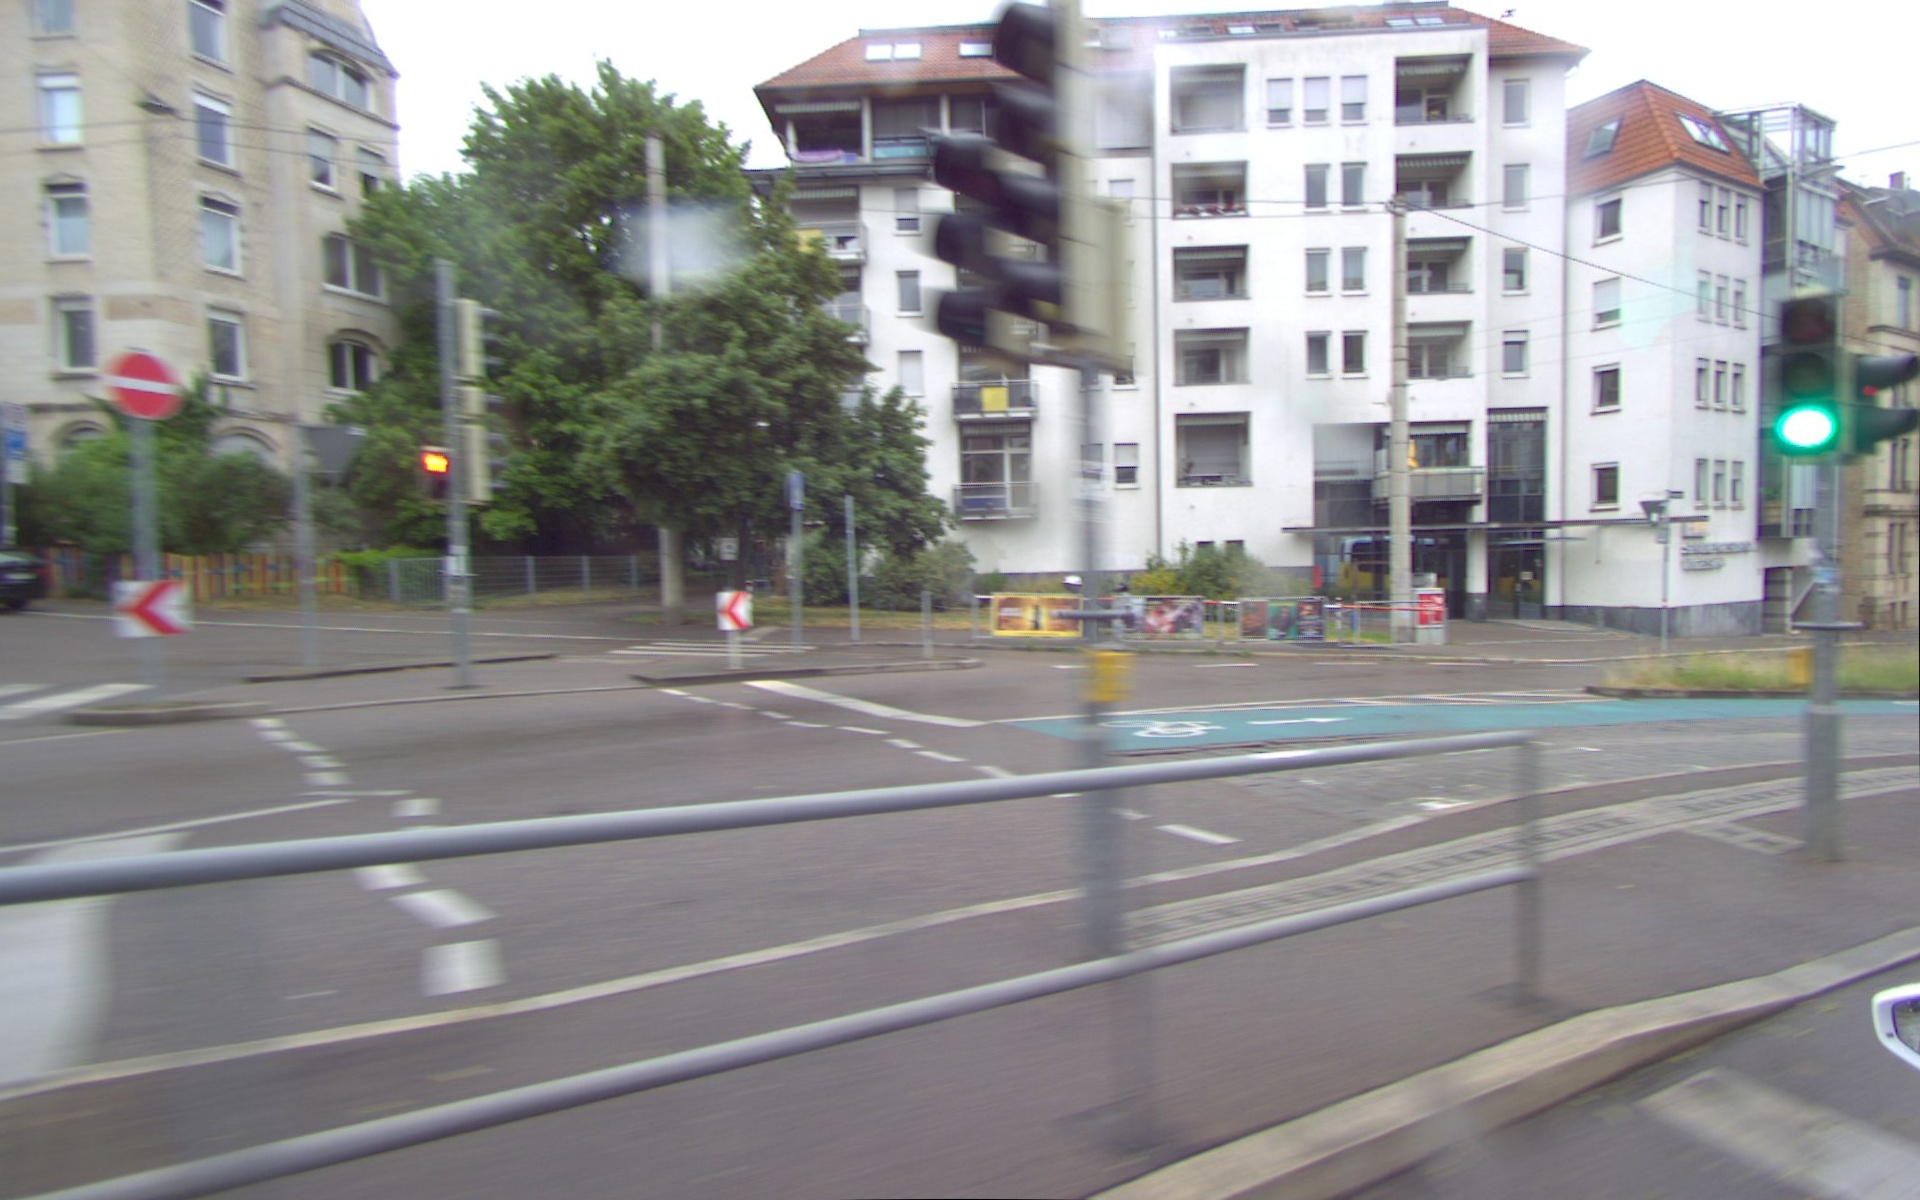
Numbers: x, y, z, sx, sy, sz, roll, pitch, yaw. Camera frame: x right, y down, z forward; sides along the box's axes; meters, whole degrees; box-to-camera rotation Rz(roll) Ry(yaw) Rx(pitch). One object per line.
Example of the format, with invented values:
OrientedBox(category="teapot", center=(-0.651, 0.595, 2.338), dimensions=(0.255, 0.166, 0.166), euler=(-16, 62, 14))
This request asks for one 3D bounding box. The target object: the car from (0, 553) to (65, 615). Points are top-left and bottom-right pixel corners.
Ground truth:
OrientedBox(category="car", center=(-21.689, -0.443, 21.168), dimensions=(4.269, 1.239, 1.754), euler=(3, 1, 5))

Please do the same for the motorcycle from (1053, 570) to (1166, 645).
OrientedBox(category="motorcycle", center=(3.383, 0.165, 22.835), dimensions=(2.395, 1.572, 0.698), euler=(2, 5, -6))
